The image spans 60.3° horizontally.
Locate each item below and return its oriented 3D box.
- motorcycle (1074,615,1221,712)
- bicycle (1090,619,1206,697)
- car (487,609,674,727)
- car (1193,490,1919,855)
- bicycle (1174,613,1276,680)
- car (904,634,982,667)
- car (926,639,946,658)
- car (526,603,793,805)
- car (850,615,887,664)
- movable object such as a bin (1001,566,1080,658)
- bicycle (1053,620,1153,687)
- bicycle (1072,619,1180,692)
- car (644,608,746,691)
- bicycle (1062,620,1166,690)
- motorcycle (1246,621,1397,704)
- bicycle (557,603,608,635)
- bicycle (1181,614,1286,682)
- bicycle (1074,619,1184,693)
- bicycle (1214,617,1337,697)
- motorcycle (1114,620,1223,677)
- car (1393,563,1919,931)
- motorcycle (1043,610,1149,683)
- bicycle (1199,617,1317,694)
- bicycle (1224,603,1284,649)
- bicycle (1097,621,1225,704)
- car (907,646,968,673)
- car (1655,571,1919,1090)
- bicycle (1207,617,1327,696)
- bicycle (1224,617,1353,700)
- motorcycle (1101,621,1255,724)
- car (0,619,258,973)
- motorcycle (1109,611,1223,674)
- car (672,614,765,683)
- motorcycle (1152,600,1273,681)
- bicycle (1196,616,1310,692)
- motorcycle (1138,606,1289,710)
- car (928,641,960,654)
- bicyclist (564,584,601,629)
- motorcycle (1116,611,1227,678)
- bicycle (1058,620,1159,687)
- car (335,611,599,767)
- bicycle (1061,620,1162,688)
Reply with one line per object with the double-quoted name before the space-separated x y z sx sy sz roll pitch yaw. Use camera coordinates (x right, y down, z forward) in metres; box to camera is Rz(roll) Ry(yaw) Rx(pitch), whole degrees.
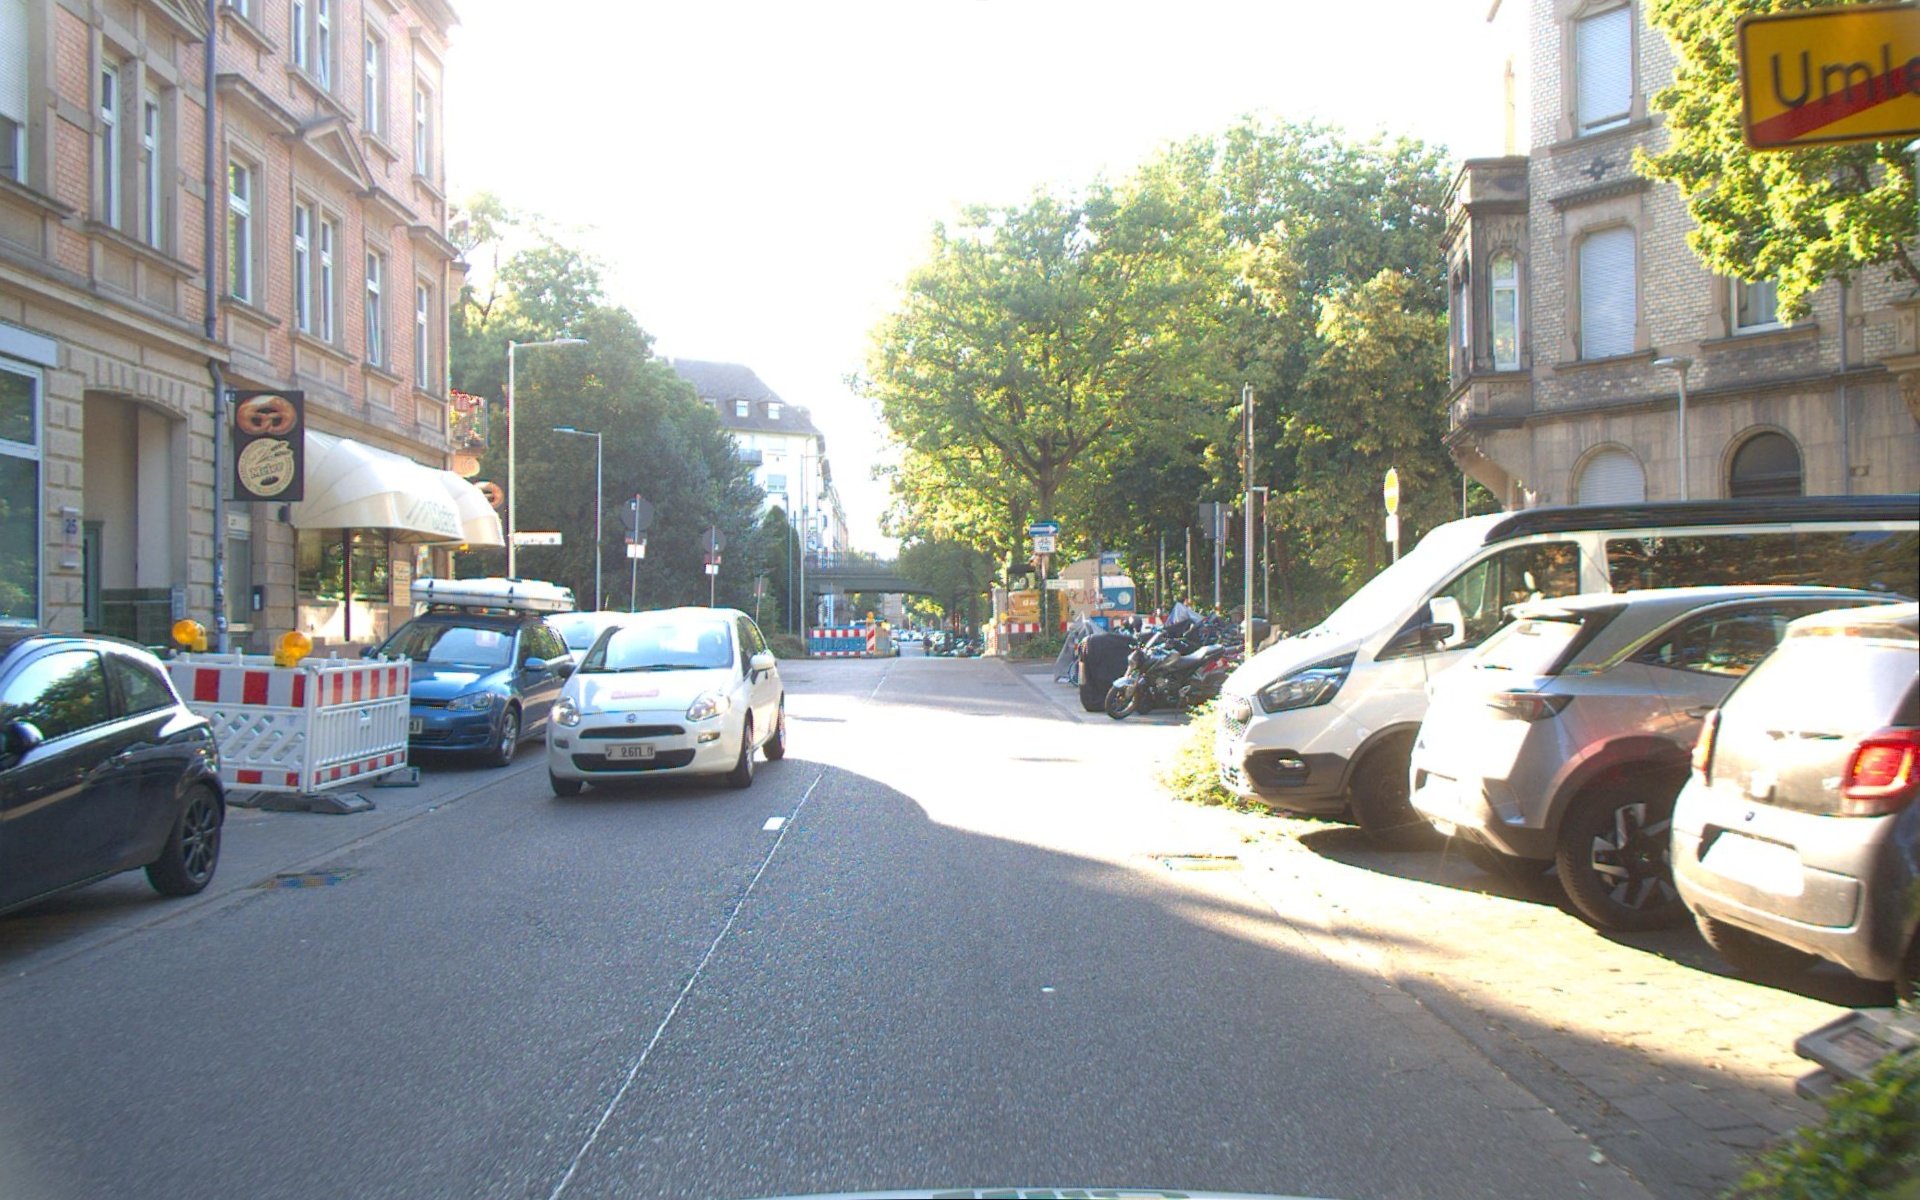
"motorcycle" 2.748 0.916 24.382 1.983 1.307 0.903 -3 0 -3
"bicycle" 3.103 0.952 27.295 1.887 1.268 0.302 0 -1 -7
"car" -5.197 0.885 23.151 1.690 1.462 3.995 1 0 0
"car" 4.146 0.430 10.964 4.872 2.133 2.105 -1 0 -1
"bicycle" 5.094 0.885 31.785 1.887 1.268 0.452 0 -1 -7
"car" -0.966 2.895 93.780 4.300 1.732 1.915 1 -4 -4
"car" -2.168 4.344 149.729 1.739 1.638 4.400 -1 -1 -1
"car" -2.524 0.813 14.781 1.713 1.536 3.999 -1 0 -1
"car" -5.162 2.285 93.425 2.006 2.541 5.692 1 -3 -3
"movable object such as a bin" 2.520 0.388 51.265 1.951 2.747 3.113 0 -1 12
"bicycle" 2.761 1.023 31.903 1.887 1.268 0.302 0 -1 -7
"bicycle" 2.929 0.974 29.233 1.887 1.268 0.302 0 -1 -7
"car" -5.298 0.965 33.481 1.636 1.557 3.997 0 -1 -3
"bicycle" 2.833 1.013 30.501 1.887 1.268 0.302 0 -1 -7
"motorcycle" 5.300 0.913 24.351 1.982 1.128 0.903 -2 0 -3
"bicycle" -11.878 0.581 51.966 0.797 0.985 2.081 1 -1 -36
"bicycle" 5.168 0.902 31.276 1.887 1.268 0.479 0 -1 -7
"bicycle" 2.955 0.973 28.907 1.887 1.268 0.302 0 -1 -7
"bicycle" 5.093 0.914 26.707 1.887 1.268 0.479 0 -1 -7
"motorcycle" 4.451 1.026 35.222 2.234 1.201 0.972 0 -1 12
"car" 4.295 0.648 8.314 3.762 1.623 1.740 -1 0 -1
"motorcycle" 2.712 0.917 33.032 1.894 1.437 0.940 -1 -1 27
"bicycle" 4.993 0.918 27.717 1.887 1.268 0.479 0 -1 -7
"bicycle" 8.855 0.775 49.986 1.006 1.308 2.139 -1 0 -13
"bicycle" 3.132 0.964 25.844 1.887 1.268 0.647 0 -1 -7
"car" -1.604 4.267 118.977 4.300 1.816 1.915 1 -4 -4
"car" 4.714 0.666 5.801 3.762 1.542 1.847 -1 0 -1
"bicycle" 5.047 0.916 27.210 1.887 1.268 0.479 0 -1 -7
"bicycle" 5.173 0.912 26.109 1.887 1.268 0.647 0 -1 -7
"motorcycle" 2.953 0.968 22.478 1.975 1.350 0.620 0 -1 -5
"car" -4.932 0.851 7.764 1.669 1.480 4.018 -1 0 -2
"motorcycle" 4.557 0.939 36.659 2.322 1.365 0.938 0 -1 -11
"car" -5.489 1.080 37.928 1.635 1.483 3.999 0 -1 -1
"motorcycle" 4.946 0.789 32.450 2.239 1.558 0.755 0 -1 -7
"bicycle" 4.996 0.919 28.227 1.887 1.268 0.395 0 -1 -7
"motorcycle" 3.573 0.816 23.421 1.982 1.386 0.694 -2 -1 -1
"car" -2.177 6.354 221.857 4.298 1.638 1.780 1 -4 -1
"bicyclist" -11.858 0.214 51.962 0.797 1.408 0.972 1 -1 -37
"motorcycle" 4.391 0.915 34.341 2.234 1.365 0.657 0 -1 11
"bicycle" 2.826 1.015 31.536 1.887 1.268 0.302 0 -1 -7
"car" -5.167 0.858 17.933 1.729 1.462 4.298 0 0 -2
"bicycle" 2.859 1.014 31.216 1.887 1.268 0.302 0 -1 -7
